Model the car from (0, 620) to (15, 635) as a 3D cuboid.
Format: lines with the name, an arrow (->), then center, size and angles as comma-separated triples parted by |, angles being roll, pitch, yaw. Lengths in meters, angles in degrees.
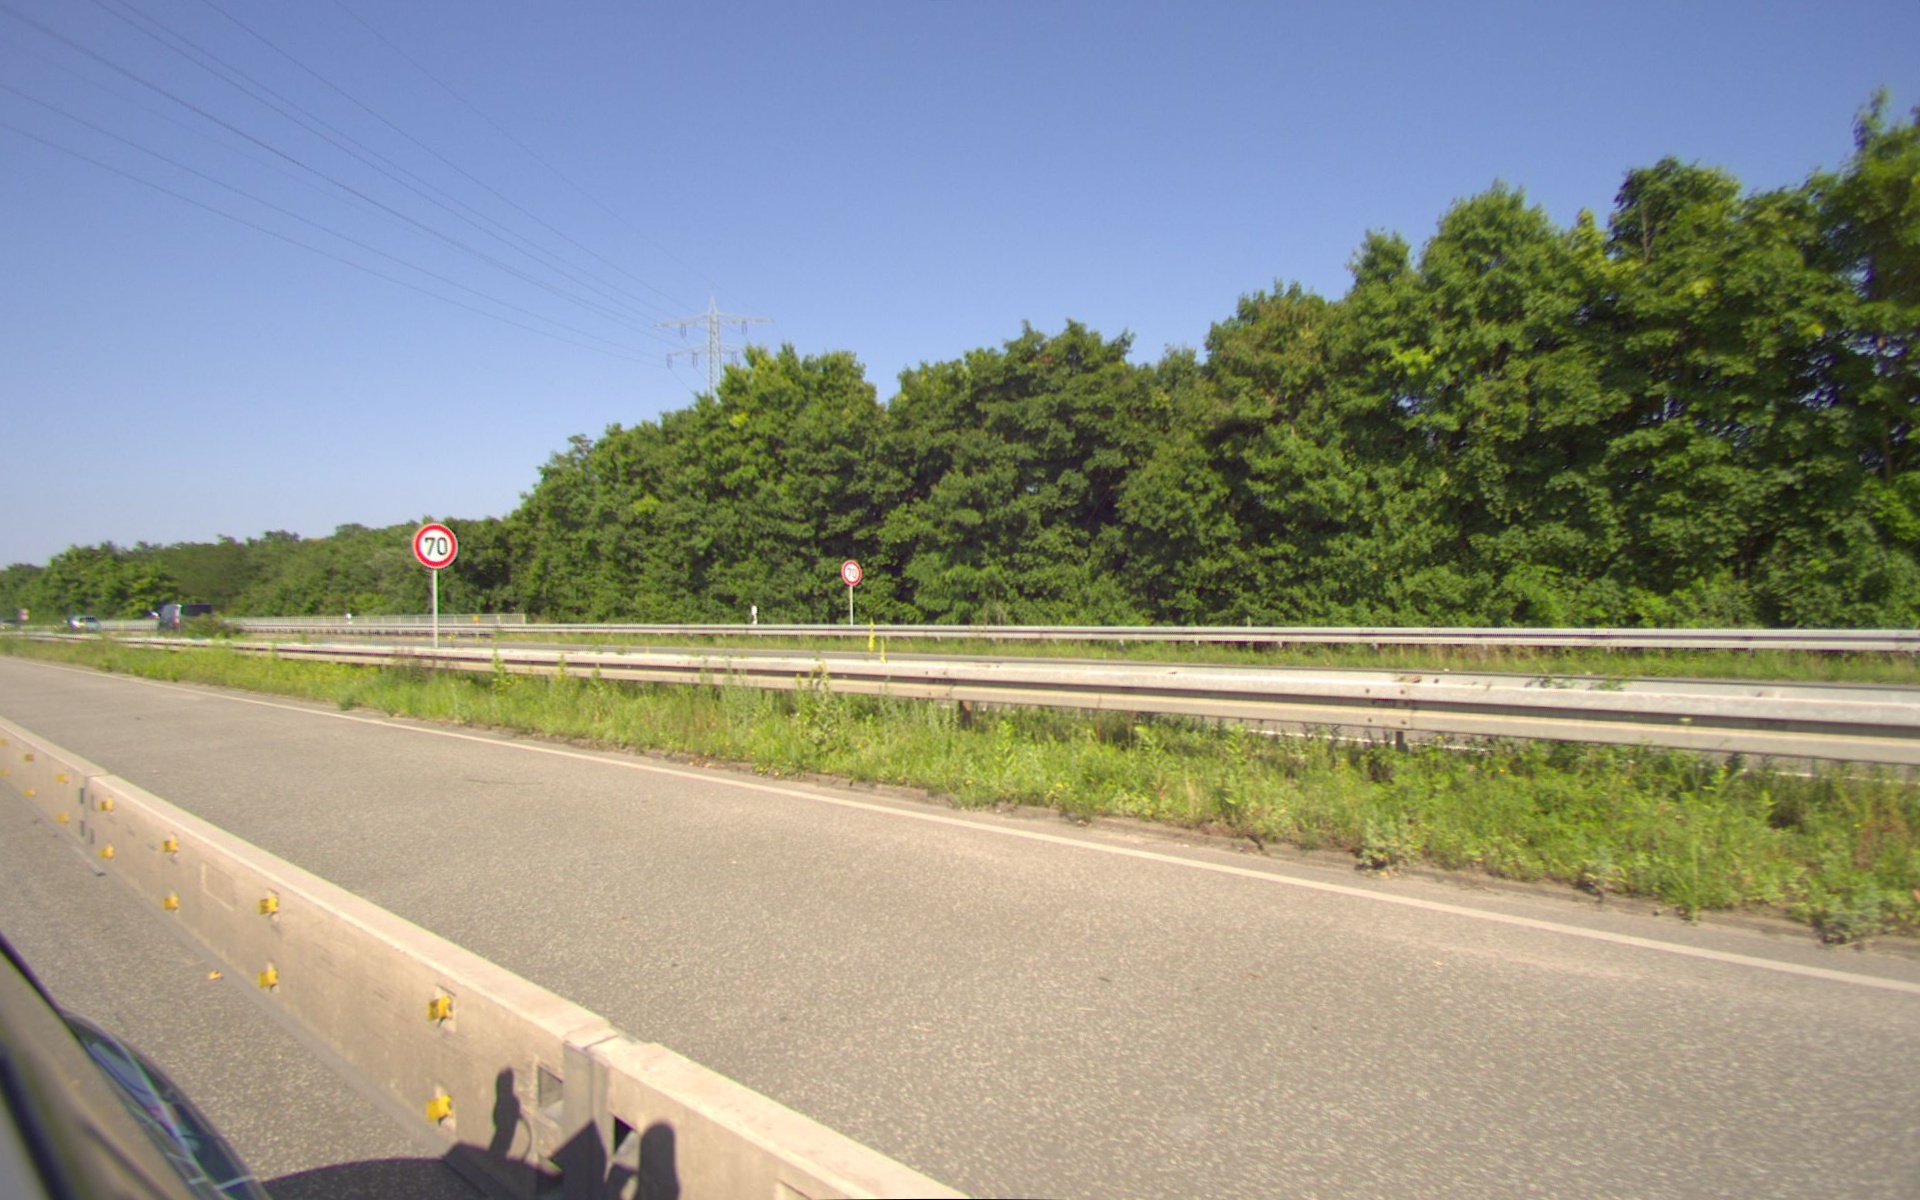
car -> -103.030, 2.988, 108.704 | 4.420, 1.595, 1.745 | -1, 0, 41

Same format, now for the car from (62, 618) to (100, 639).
car -> -68.071, 2.185, 78.361 | 3.816, 1.542, 1.630 | -1, 0, 41

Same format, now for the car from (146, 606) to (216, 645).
car -> -42.976, 1.400, 55.793 | 5.162, 2.050, 1.974 | -2, -1, 39
